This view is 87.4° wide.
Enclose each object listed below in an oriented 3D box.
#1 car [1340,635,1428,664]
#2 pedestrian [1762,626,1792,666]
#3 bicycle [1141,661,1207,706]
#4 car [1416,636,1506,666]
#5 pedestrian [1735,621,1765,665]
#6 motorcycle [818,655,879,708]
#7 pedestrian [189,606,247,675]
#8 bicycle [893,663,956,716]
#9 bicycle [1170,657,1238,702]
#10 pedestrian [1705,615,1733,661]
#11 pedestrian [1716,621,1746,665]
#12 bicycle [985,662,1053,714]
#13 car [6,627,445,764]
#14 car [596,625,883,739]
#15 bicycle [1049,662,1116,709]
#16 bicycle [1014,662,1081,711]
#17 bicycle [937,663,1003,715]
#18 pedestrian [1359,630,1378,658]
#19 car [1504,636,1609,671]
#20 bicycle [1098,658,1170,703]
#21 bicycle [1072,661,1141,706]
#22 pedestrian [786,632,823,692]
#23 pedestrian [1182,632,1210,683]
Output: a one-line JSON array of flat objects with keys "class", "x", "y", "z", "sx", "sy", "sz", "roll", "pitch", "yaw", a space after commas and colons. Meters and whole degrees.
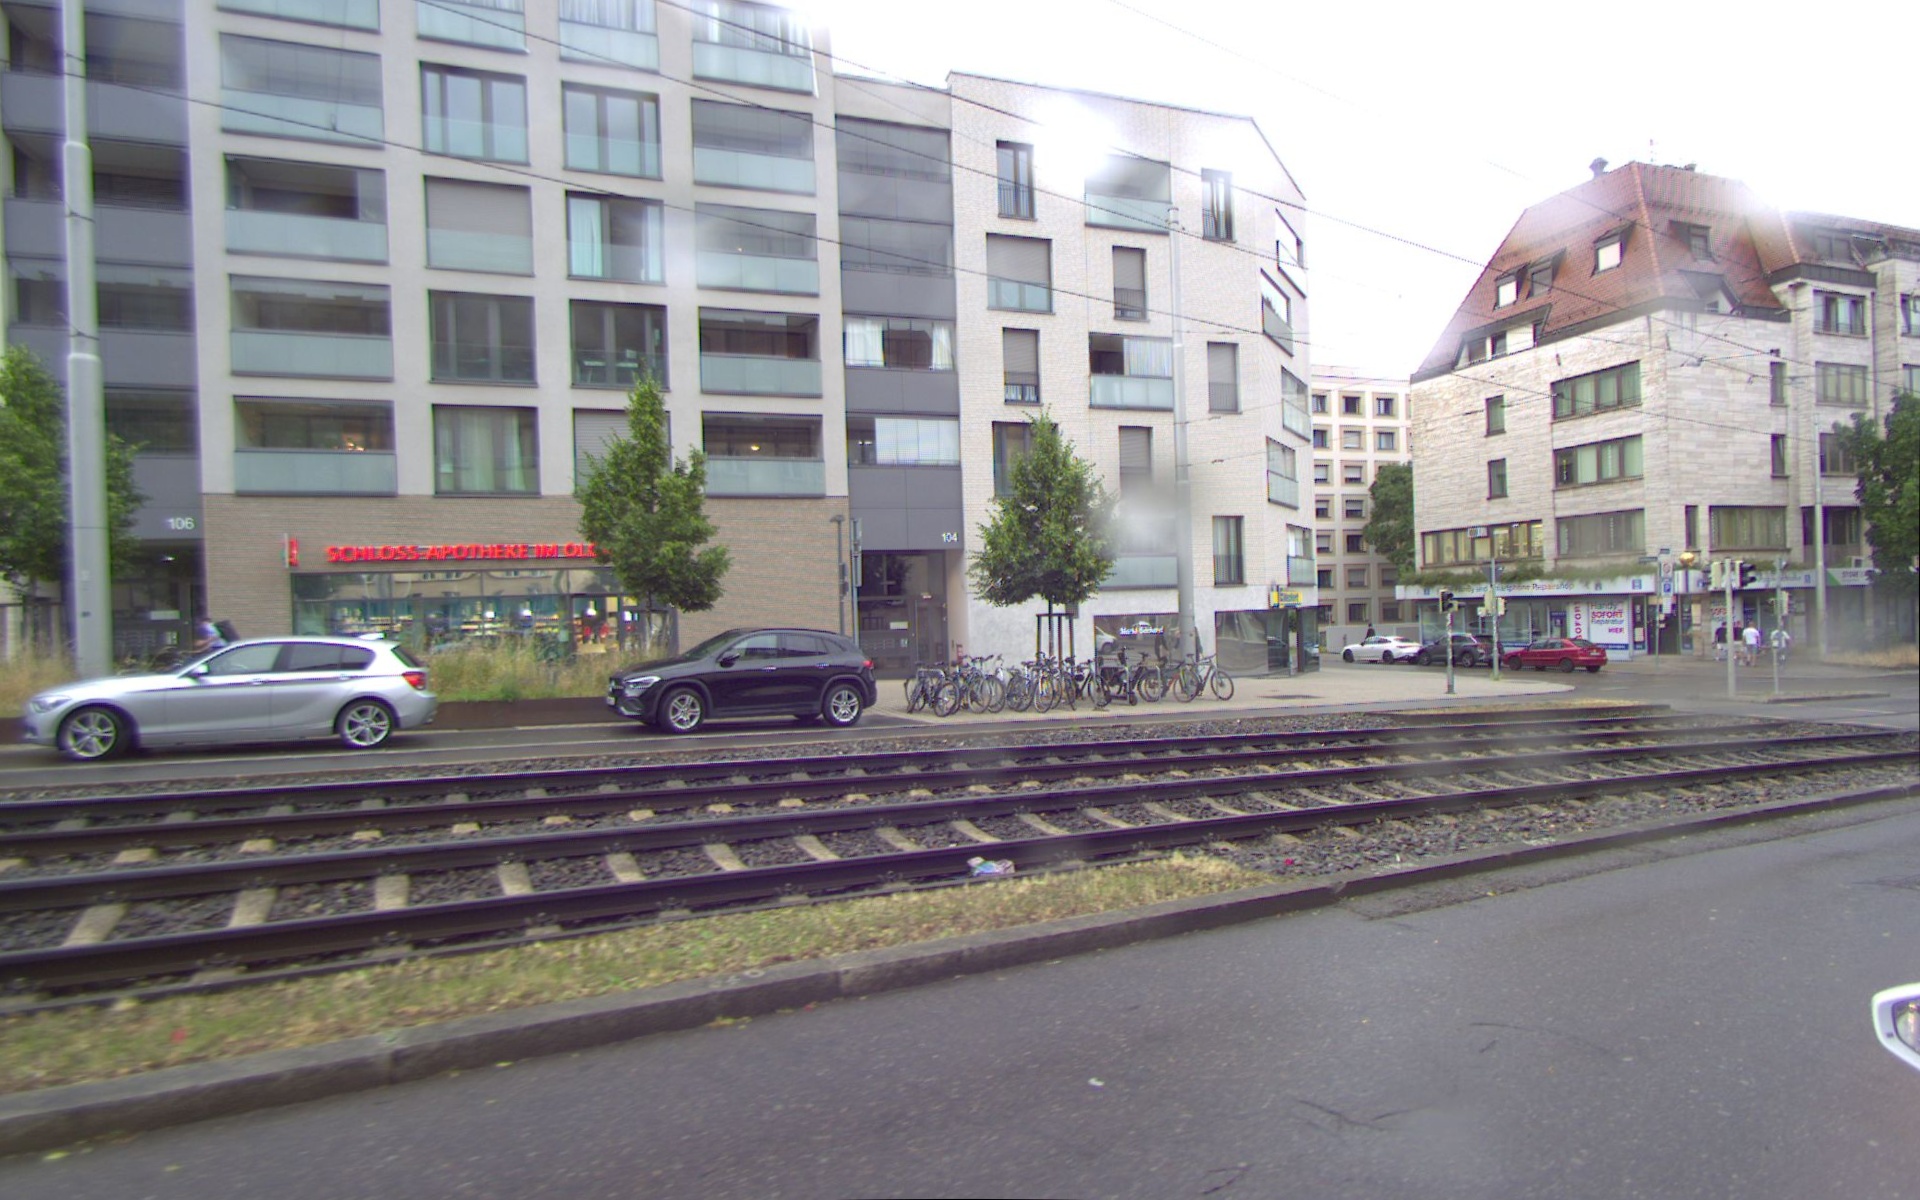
[{"class": "car", "x": 21.736, "y": 2.520, "z": 51.690, "sx": 1.570, "sy": 1.335, "sz": 4.482, "roll": 2, "pitch": -2, "yaw": -20}, {"class": "pedestrian", "x": 32.414, "y": 1.826, "z": 39.867, "sx": 0.674, "sy": 1.569, "sz": 0.646, "roll": 2, "pitch": 0, "yaw": -22}, {"class": "bicycle", "x": 5.007, "y": 1.939, "z": 23.592, "sx": 0.383, "sy": 0.888, "sz": 1.774, "roll": 2, "pitch": 0, "yaw": -31}, {"class": "car", "x": 23.437, "y": 2.369, "z": 47.119, "sx": 1.570, "sy": 1.335, "sz": 3.689, "roll": 2, "pitch": -2, "yaw": -20}, {"class": "pedestrian", "x": 31.886, "y": 1.745, "z": 40.549, "sx": 0.674, "sy": 1.747, "sz": 0.646, "roll": 2, "pitch": 0, "yaw": -22}, {"class": "motorcycle", "x": -2.385, "y": 1.718, "z": 21.316, "sx": 0.537, "sy": 1.056, "sz": 1.748, "roll": 3, "pitch": -4, "yaw": -33}, {"class": "pedestrian", "x": -16.155, "y": 0.877, "z": 21.885, "sx": 0.790, "sy": 1.468, "sz": 0.656, "roll": 2, "pitch": 0, "yaw": -18}, {"class": "bicycle", "x": -0.724, "y": 1.753, "z": 19.909, "sx": 0.383, "sy": 0.930, "sz": 1.772, "roll": 2, "pitch": -1, "yaw": -34}, {"class": "bicycle", "x": 5.917, "y": 1.915, "z": 24.444, "sx": 0.436, "sy": 0.993, "sz": 1.773, "roll": 2, "pitch": -2, "yaw": -34}, {"class": "pedestrian", "x": 32.041, "y": 1.598, "z": 42.387, "sx": 0.674, "sy": 1.867, "sz": 0.646, "roll": 2, "pitch": 0, "yaw": -22}, {"class": "pedestrian", "x": 31.603, "y": 1.750, "z": 41.176, "sx": 0.674, "sy": 1.772, "sz": 0.646, "roll": 2, "pitch": 0, "yaw": -22}, {"class": "bicycle", "x": 1.191, "y": 1.783, "z": 20.614, "sx": 0.383, "sy": 0.930, "sz": 1.772, "roll": 2, "pitch": -1, "yaw": -34}, {"class": "car", "x": -9.098, "y": 1.133, "z": 12.922, "sx": 4.280, "sy": 1.484, "sz": 1.671, "roll": 2, "pitch": -1, "yaw": -31}, {"class": "car", "x": -3.557, "y": 1.266, "z": 16.449, "sx": 4.280, "sy": 1.625, "sz": 1.671, "roll": 2, "pitch": -1, "yaw": -31}, {"class": "bicycle", "x": 2.659, "y": 1.854, "z": 22.021, "sx": 0.383, "sy": 0.930, "sz": 1.772, "roll": 2, "pitch": -1, "yaw": -34}, {"class": "bicycle", "x": 1.837, "y": 1.815, "z": 21.389, "sx": 0.383, "sy": 0.930, "sz": 1.773, "roll": 2, "pitch": -2, "yaw": -34}, {"class": "bicycle", "x": 0.184, "y": 1.775, "z": 20.269, "sx": 0.383, "sy": 0.930, "sz": 1.772, "roll": 2, "pitch": -1, "yaw": -34}, {"class": "pedestrian", "x": 23.343, "y": 2.503, "z": 57.427, "sx": 0.640, "sy": 1.569, "sz": 0.680, "roll": 2, "pitch": 0, "yaw": -21}, {"class": "car", "x": 25.153, "y": 2.241, "z": 42.465, "sx": 1.569, "sy": 1.335, "sz": 3.690, "roll": 2, "pitch": -2, "yaw": -19}, {"class": "bicycle", "x": 4.095, "y": 1.885, "z": 23.749, "sx": 1.764, "sy": 0.930, "sz": 0.385, "roll": 1, "pitch": -1, "yaw": 44}, {"class": "bicycle", "x": 3.300, "y": 1.862, "z": 22.733, "sx": 0.384, "sy": 0.930, "sz": 1.770, "roll": 2, "pitch": -2, "yaw": -38}, {"class": "pedestrian", "x": -3.932, "y": 1.556, "z": 25.376, "sx": 0.790, "sy": 1.468, "sz": 0.539, "roll": 2, "pitch": 0, "yaw": -18}, {"class": "pedestrian", "x": 7.519, "y": 1.809, "z": 31.986, "sx": 0.637, "sy": 1.590, "sz": 0.775, "roll": 0, "pitch": -1, "yaw": 33}]
